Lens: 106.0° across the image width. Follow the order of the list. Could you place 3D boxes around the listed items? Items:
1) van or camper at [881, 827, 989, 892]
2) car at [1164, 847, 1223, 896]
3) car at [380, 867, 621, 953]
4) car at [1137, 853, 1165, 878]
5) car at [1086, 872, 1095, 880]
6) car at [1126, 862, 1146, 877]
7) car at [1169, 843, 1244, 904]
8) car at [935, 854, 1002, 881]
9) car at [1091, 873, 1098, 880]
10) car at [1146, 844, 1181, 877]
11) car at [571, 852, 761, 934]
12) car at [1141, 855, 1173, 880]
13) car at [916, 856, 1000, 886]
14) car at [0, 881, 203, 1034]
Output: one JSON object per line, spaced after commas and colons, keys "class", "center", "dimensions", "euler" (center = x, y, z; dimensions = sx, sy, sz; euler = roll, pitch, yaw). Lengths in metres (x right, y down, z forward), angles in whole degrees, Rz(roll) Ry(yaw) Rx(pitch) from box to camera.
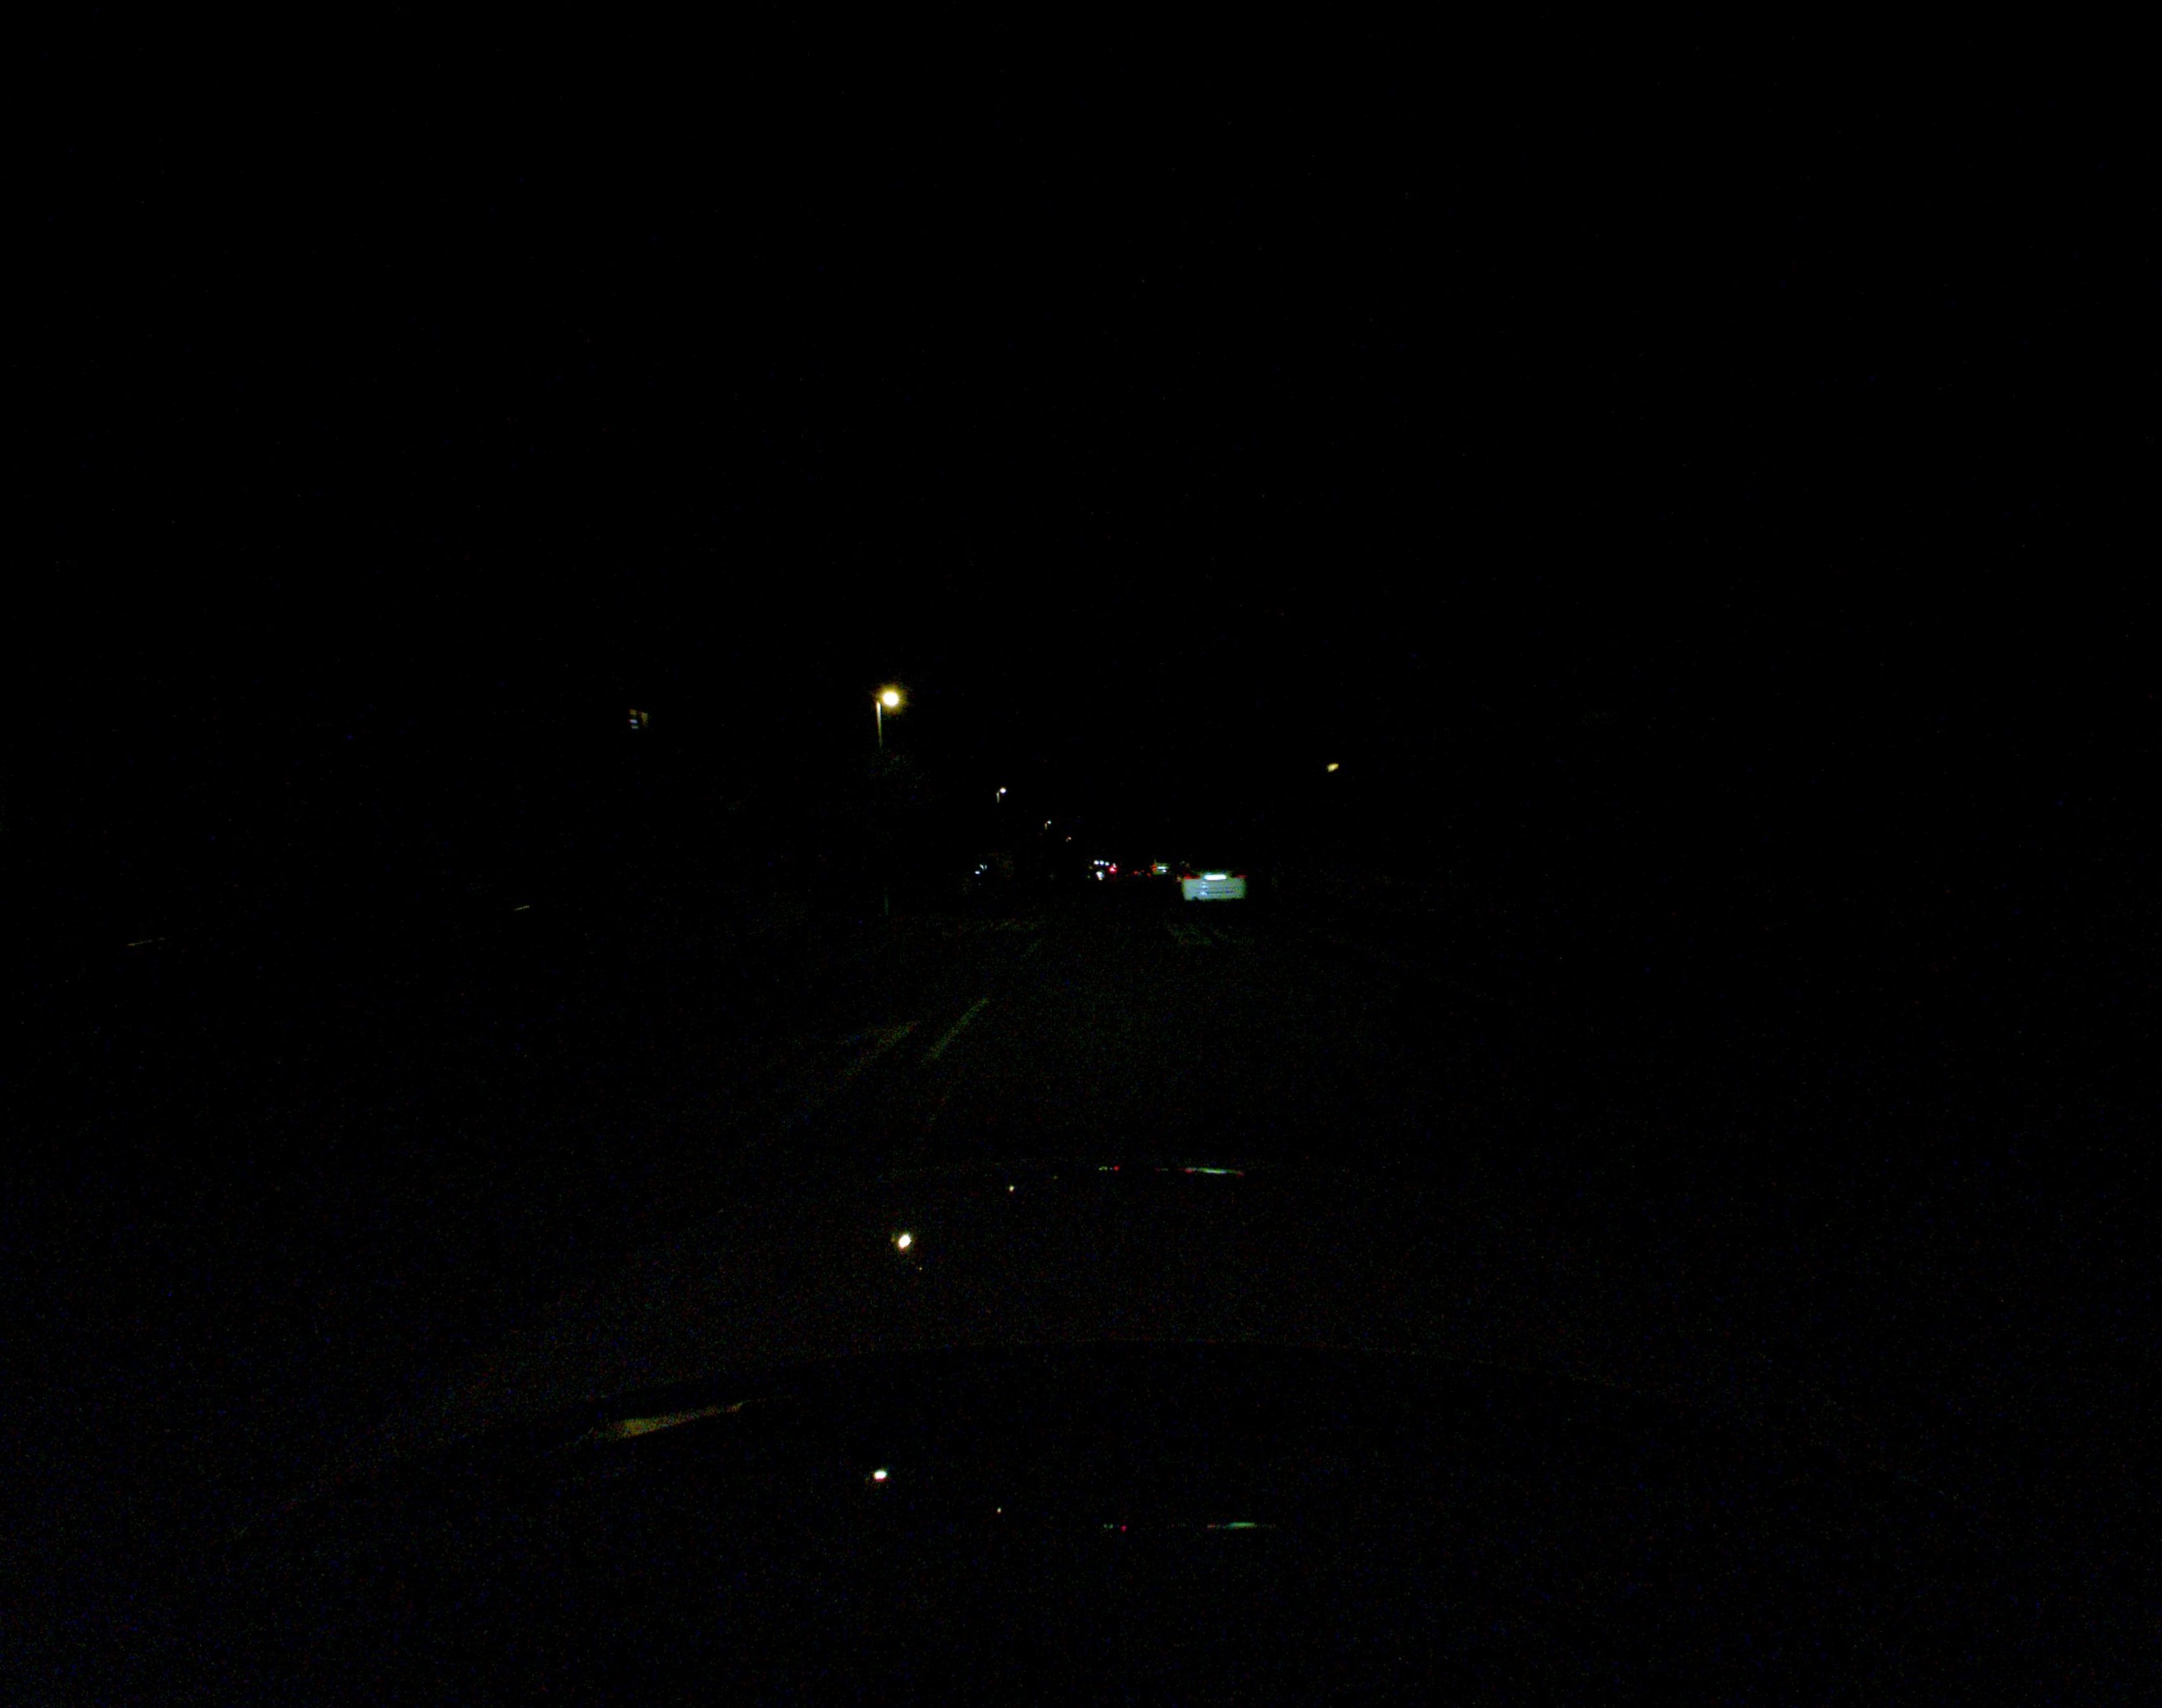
{"class": "van or camper", "center": [-7.702, 0.268, 43.392], "dimensions": [5.395, 3.110, 2.127], "euler": [-3, 0, -8]}
{"class": "car", "center": [3.857, 0.570, 28.344], "dimensions": [1.602, 1.461, 3.719], "euler": [-4, 1, 2]}
{"class": "car", "center": [-11.348, 1.021, 16.333], "dimensions": [1.842, 1.427, 4.002], "euler": [-1, 0, 2]}
{"class": "car", "center": [4.865, 0.855, 56.730], "dimensions": [1.823, 1.664, 4.623], "euler": [-1, -2, 4]}
{"class": "car", "center": [2.094, 4.805, 176.291], "dimensions": [1.748, 1.540, 3.728], "euler": [-1, -2, -1]}
{"class": "car", "center": [5.837, 1.693, 86.281], "dimensions": [1.758, 1.476, 4.273], "euler": [1, -2, -1]}
{"class": "car", "center": [3.556, 0.513, 23.840], "dimensions": [1.747, 1.594, 4.732], "euler": [0, 0, 4]}
{"class": "car", "center": [-6.862, 0.794, 49.948], "dimensions": [3.796, 1.555, 1.928], "euler": [-1, 0, 2]}
{"class": "car", "center": [3.179, 5.387, 193.384], "dimensions": [1.747, 1.540, 3.731], "euler": [-1, -2, 1]}
{"class": "car", "center": [4.581, 0.356, 45.618], "dimensions": [1.711, 1.761, 4.761], "euler": [0, -1, 3]}
{"class": "car", "center": [-8.272, 0.698, 16.684], "dimensions": [1.970, 1.439, 3.996], "euler": [-1, 0, -3]}
{"class": "car", "center": [4.731, 0.831, 51.103], "dimensions": [1.737, 1.471, 4.258], "euler": [1, -1, 2]}
{"class": "car", "center": [-7.057, 1.007, 47.116], "dimensions": [4.398, 1.613, 2.066], "euler": [-1, -2, 3]}
{"class": "car", "center": [-11.701, 1.093, 7.875], "dimensions": [1.718, 1.459, 4.127], "euler": [-2, 0, 5]}
